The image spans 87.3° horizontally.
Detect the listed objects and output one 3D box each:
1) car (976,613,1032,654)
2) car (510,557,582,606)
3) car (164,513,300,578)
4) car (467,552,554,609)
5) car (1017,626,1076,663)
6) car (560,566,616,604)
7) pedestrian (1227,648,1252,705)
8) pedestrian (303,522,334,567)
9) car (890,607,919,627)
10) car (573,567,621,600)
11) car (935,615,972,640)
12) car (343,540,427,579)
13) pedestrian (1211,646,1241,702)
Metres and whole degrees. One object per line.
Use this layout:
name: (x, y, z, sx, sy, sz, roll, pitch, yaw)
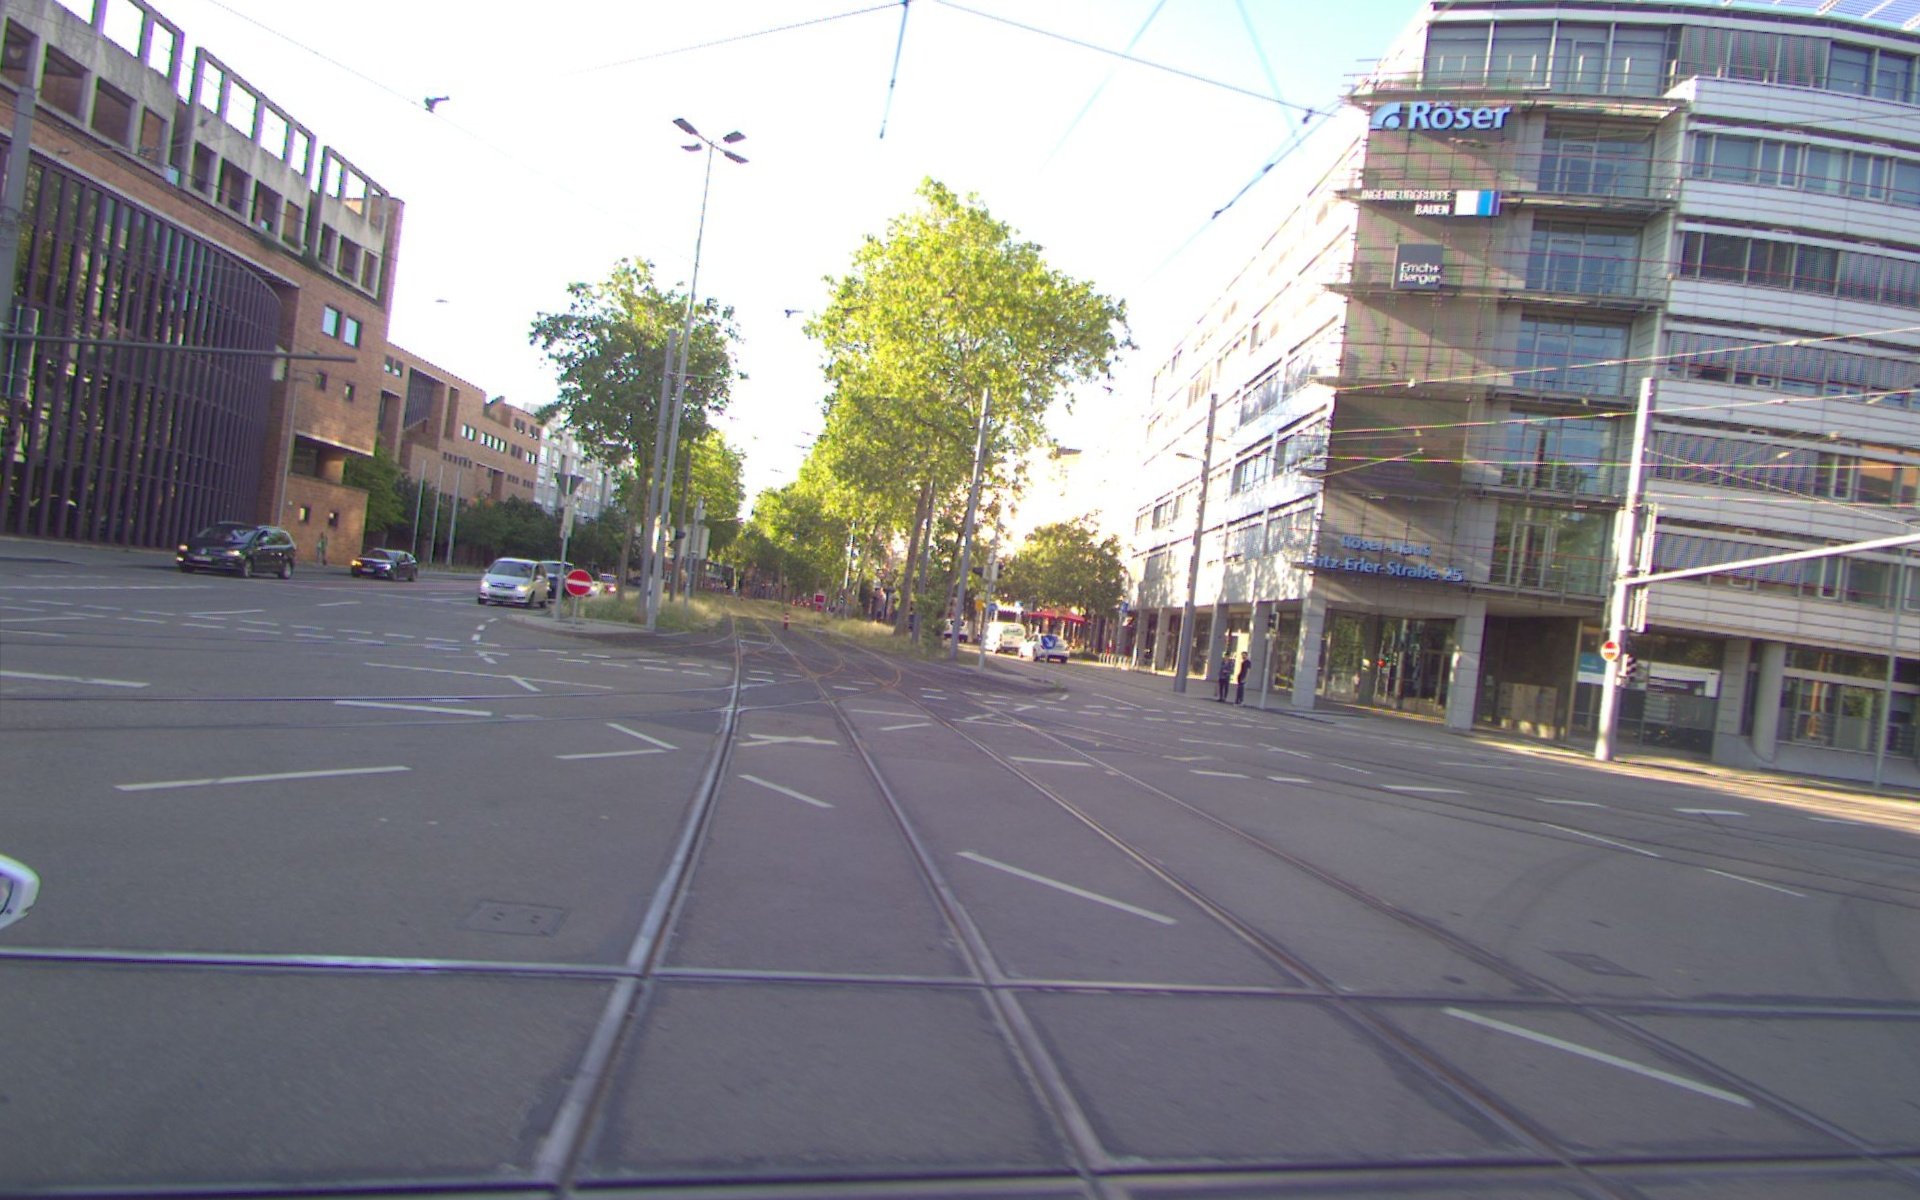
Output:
car: (2.560, 1.969, 59.925, 1.968, 2.038, 4.373, 7, -1, -14)
car: (-16.931, -0.740, 41.311, 1.830, 1.670, 4.316, 7, -1, -12)
car: (-23.501, -1.693, 32.707, 1.809, 1.674, 4.490, 6, -1, -12)
car: (-15.165, -0.636, 34.167, 1.708, 1.616, 4.316, 7, -1, -12)
car: (4.499, 2.320, 53.158, 1.829, 1.570, 4.317, 7, -1, -11)
car: (-18.330, -0.712, 49.741, 1.830, 1.570, 4.316, 7, -1, -12)
pedestrian: (9.515, 2.599, 34.256, 0.370, 1.846, 0.543, 7, 0, -28)
pedestrian: (-30.951, -2.656, 48.552, 0.886, 2.038, 0.755, 7, 0, -16)
car: (-5.349, 1.606, 96.006, 2.231, 1.570, 4.319, 7, -1, -9)
car: (-20.368, -0.914, 56.564, 1.830, 1.570, 4.316, 7, -1, -12)
car: (-0.535, 2.019, 74.683, 1.829, 1.570, 4.317, 7, -1, -11)
car: (-26.729, -1.835, 46.909, 1.889, 1.392, 3.996, 7, -1, -8)
pedestrian: (9.228, 2.573, 34.928, 0.538, 1.846, 0.585, 7, 0, -28)
